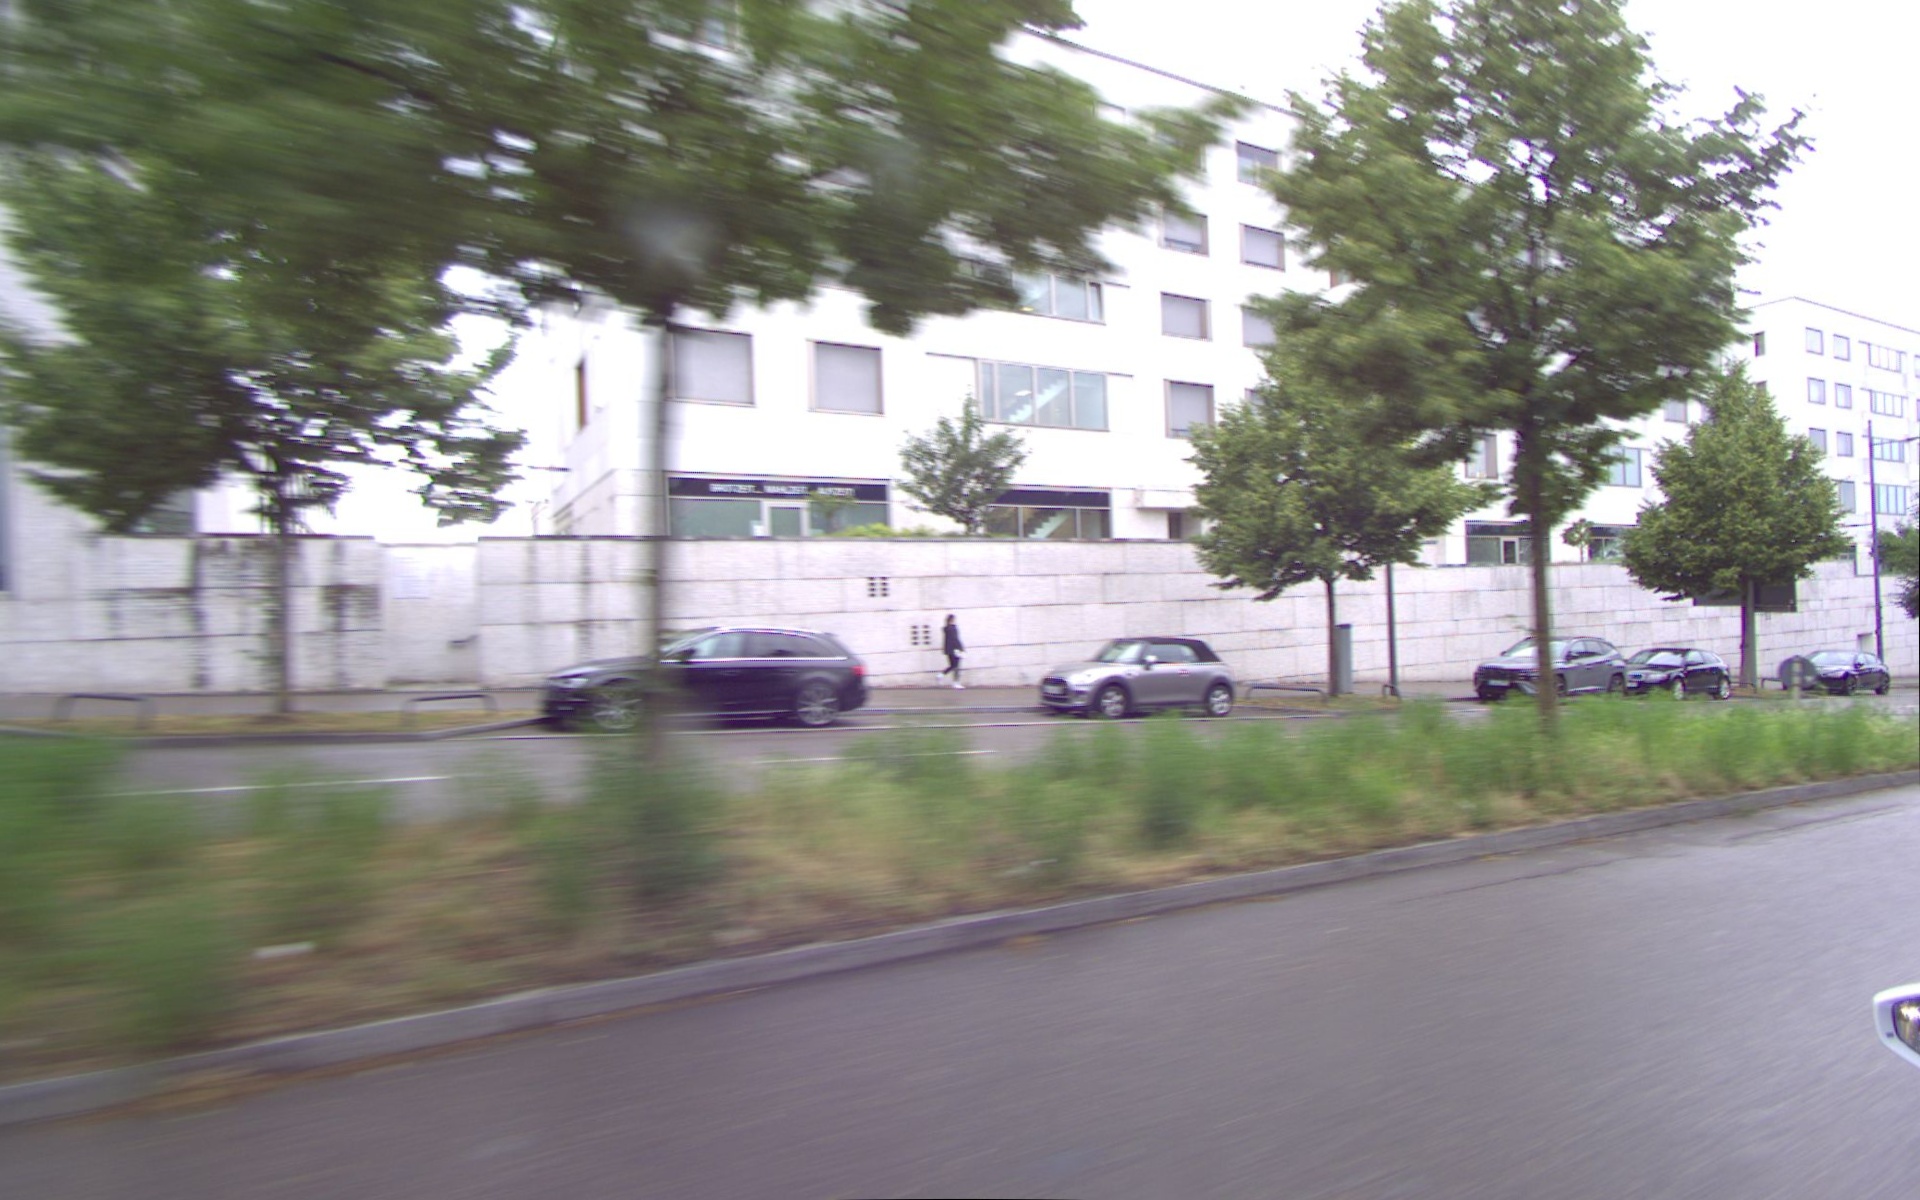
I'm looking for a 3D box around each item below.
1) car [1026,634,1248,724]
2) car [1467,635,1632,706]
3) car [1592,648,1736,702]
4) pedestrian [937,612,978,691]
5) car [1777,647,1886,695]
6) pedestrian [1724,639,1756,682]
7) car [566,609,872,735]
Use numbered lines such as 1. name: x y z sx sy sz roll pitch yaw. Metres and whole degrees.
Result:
1. car: 3.282 1.393 18.537 3.811 1.463 1.688 1 -1 -28
2. car: 14.817 1.737 25.199 4.311 1.641 1.695 2 -2 -30
3. car: 19.746 2.056 28.144 4.112 1.378 1.688 2 -2 -29
4. pedestrian: -0.061 1.179 23.216 0.683 1.798 0.715 1 -1 -30
5. car: 29.036 2.344 33.443 3.920 1.445 1.670 2 -1 -31
6. pedestrian: 33.171 2.548 42.714 1.009 1.798 0.704 2 -2 -30
7. car: -3.447 1.013 14.520 3.970 1.602 1.687 3 -2 -30
